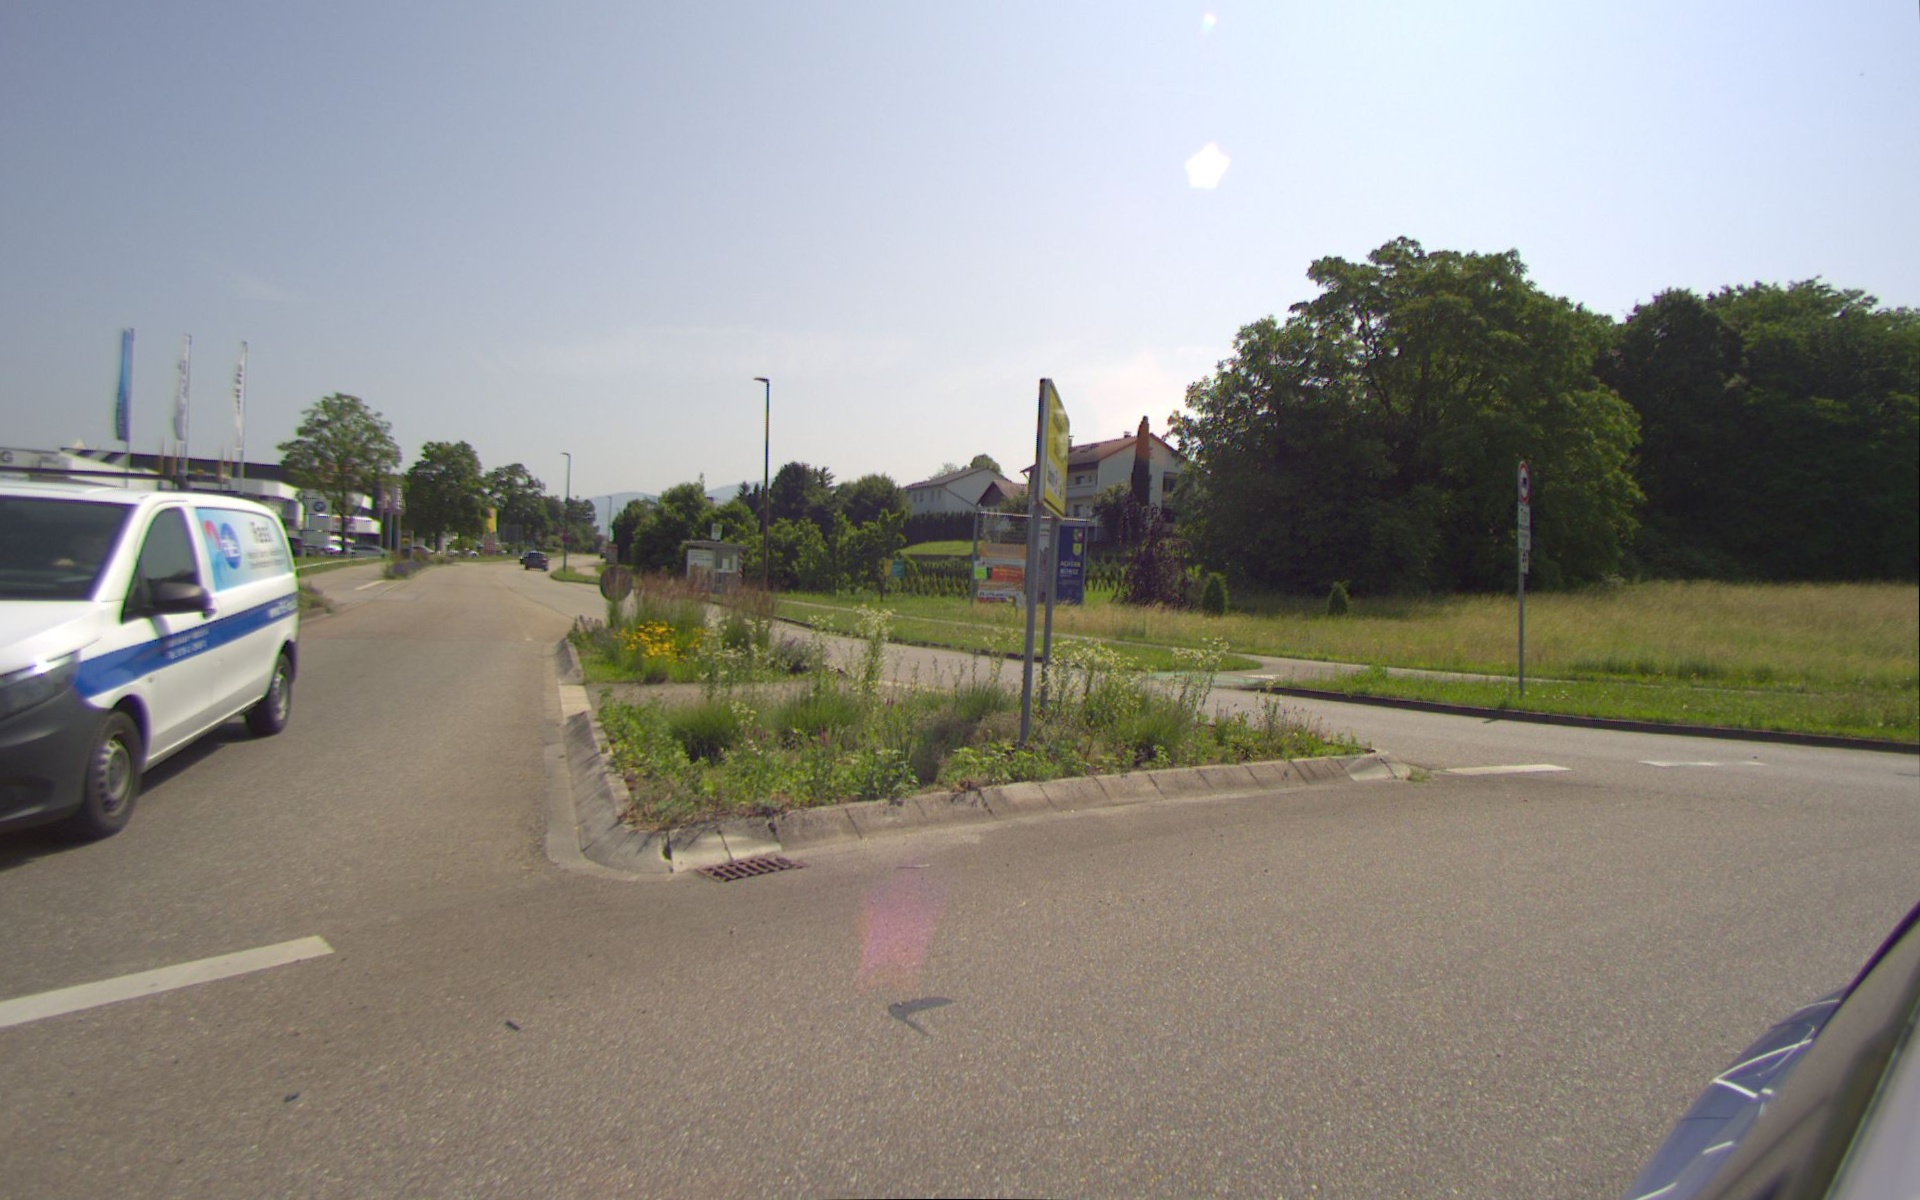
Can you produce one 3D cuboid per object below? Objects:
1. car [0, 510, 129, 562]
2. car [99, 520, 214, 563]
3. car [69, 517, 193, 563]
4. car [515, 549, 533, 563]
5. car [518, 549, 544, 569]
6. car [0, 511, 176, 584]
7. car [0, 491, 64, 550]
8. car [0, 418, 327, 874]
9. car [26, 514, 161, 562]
[{"bbox_3d":[-37.599,-2.627,42.202,4.172,2.038,2.004,0,2,-23],"label":"car"},{"bbox_3d":[-40.703,-2.940,51.374,4.172,2.038,2.004,0,2,-23],"label":"car"},{"bbox_3d":[-39.474,-2.833,48.298,4.172,2.038,2.004,0,2,-23],"label":"car"},{"bbox_3d":[-49.642,-5.024,115.241,1.737,1.502,4.050,2,3,-25],"label":"car"},{"bbox_3d":[-36.279,-3.481,85.555,1.737,1.502,4.049,2,3,-27],"label":"car"},{"bbox_3d":[-20.871,-1.224,23.378,1.876,1.531,4.371,3,2,5],"label":"car"},{"bbox_3d":[-26.356,-2.144,26.400,1.876,1.531,4.371,3,2,5],"label":"car"},{"bbox_3d":[-5.754,0.116,6.542,1.822,1.962,5.242,0,2,-21],"label":"car"},{"bbox_3d":[-38.734,-2.736,45.383,4.172,2.038,2.004,0,2,-23],"label":"car"}]
